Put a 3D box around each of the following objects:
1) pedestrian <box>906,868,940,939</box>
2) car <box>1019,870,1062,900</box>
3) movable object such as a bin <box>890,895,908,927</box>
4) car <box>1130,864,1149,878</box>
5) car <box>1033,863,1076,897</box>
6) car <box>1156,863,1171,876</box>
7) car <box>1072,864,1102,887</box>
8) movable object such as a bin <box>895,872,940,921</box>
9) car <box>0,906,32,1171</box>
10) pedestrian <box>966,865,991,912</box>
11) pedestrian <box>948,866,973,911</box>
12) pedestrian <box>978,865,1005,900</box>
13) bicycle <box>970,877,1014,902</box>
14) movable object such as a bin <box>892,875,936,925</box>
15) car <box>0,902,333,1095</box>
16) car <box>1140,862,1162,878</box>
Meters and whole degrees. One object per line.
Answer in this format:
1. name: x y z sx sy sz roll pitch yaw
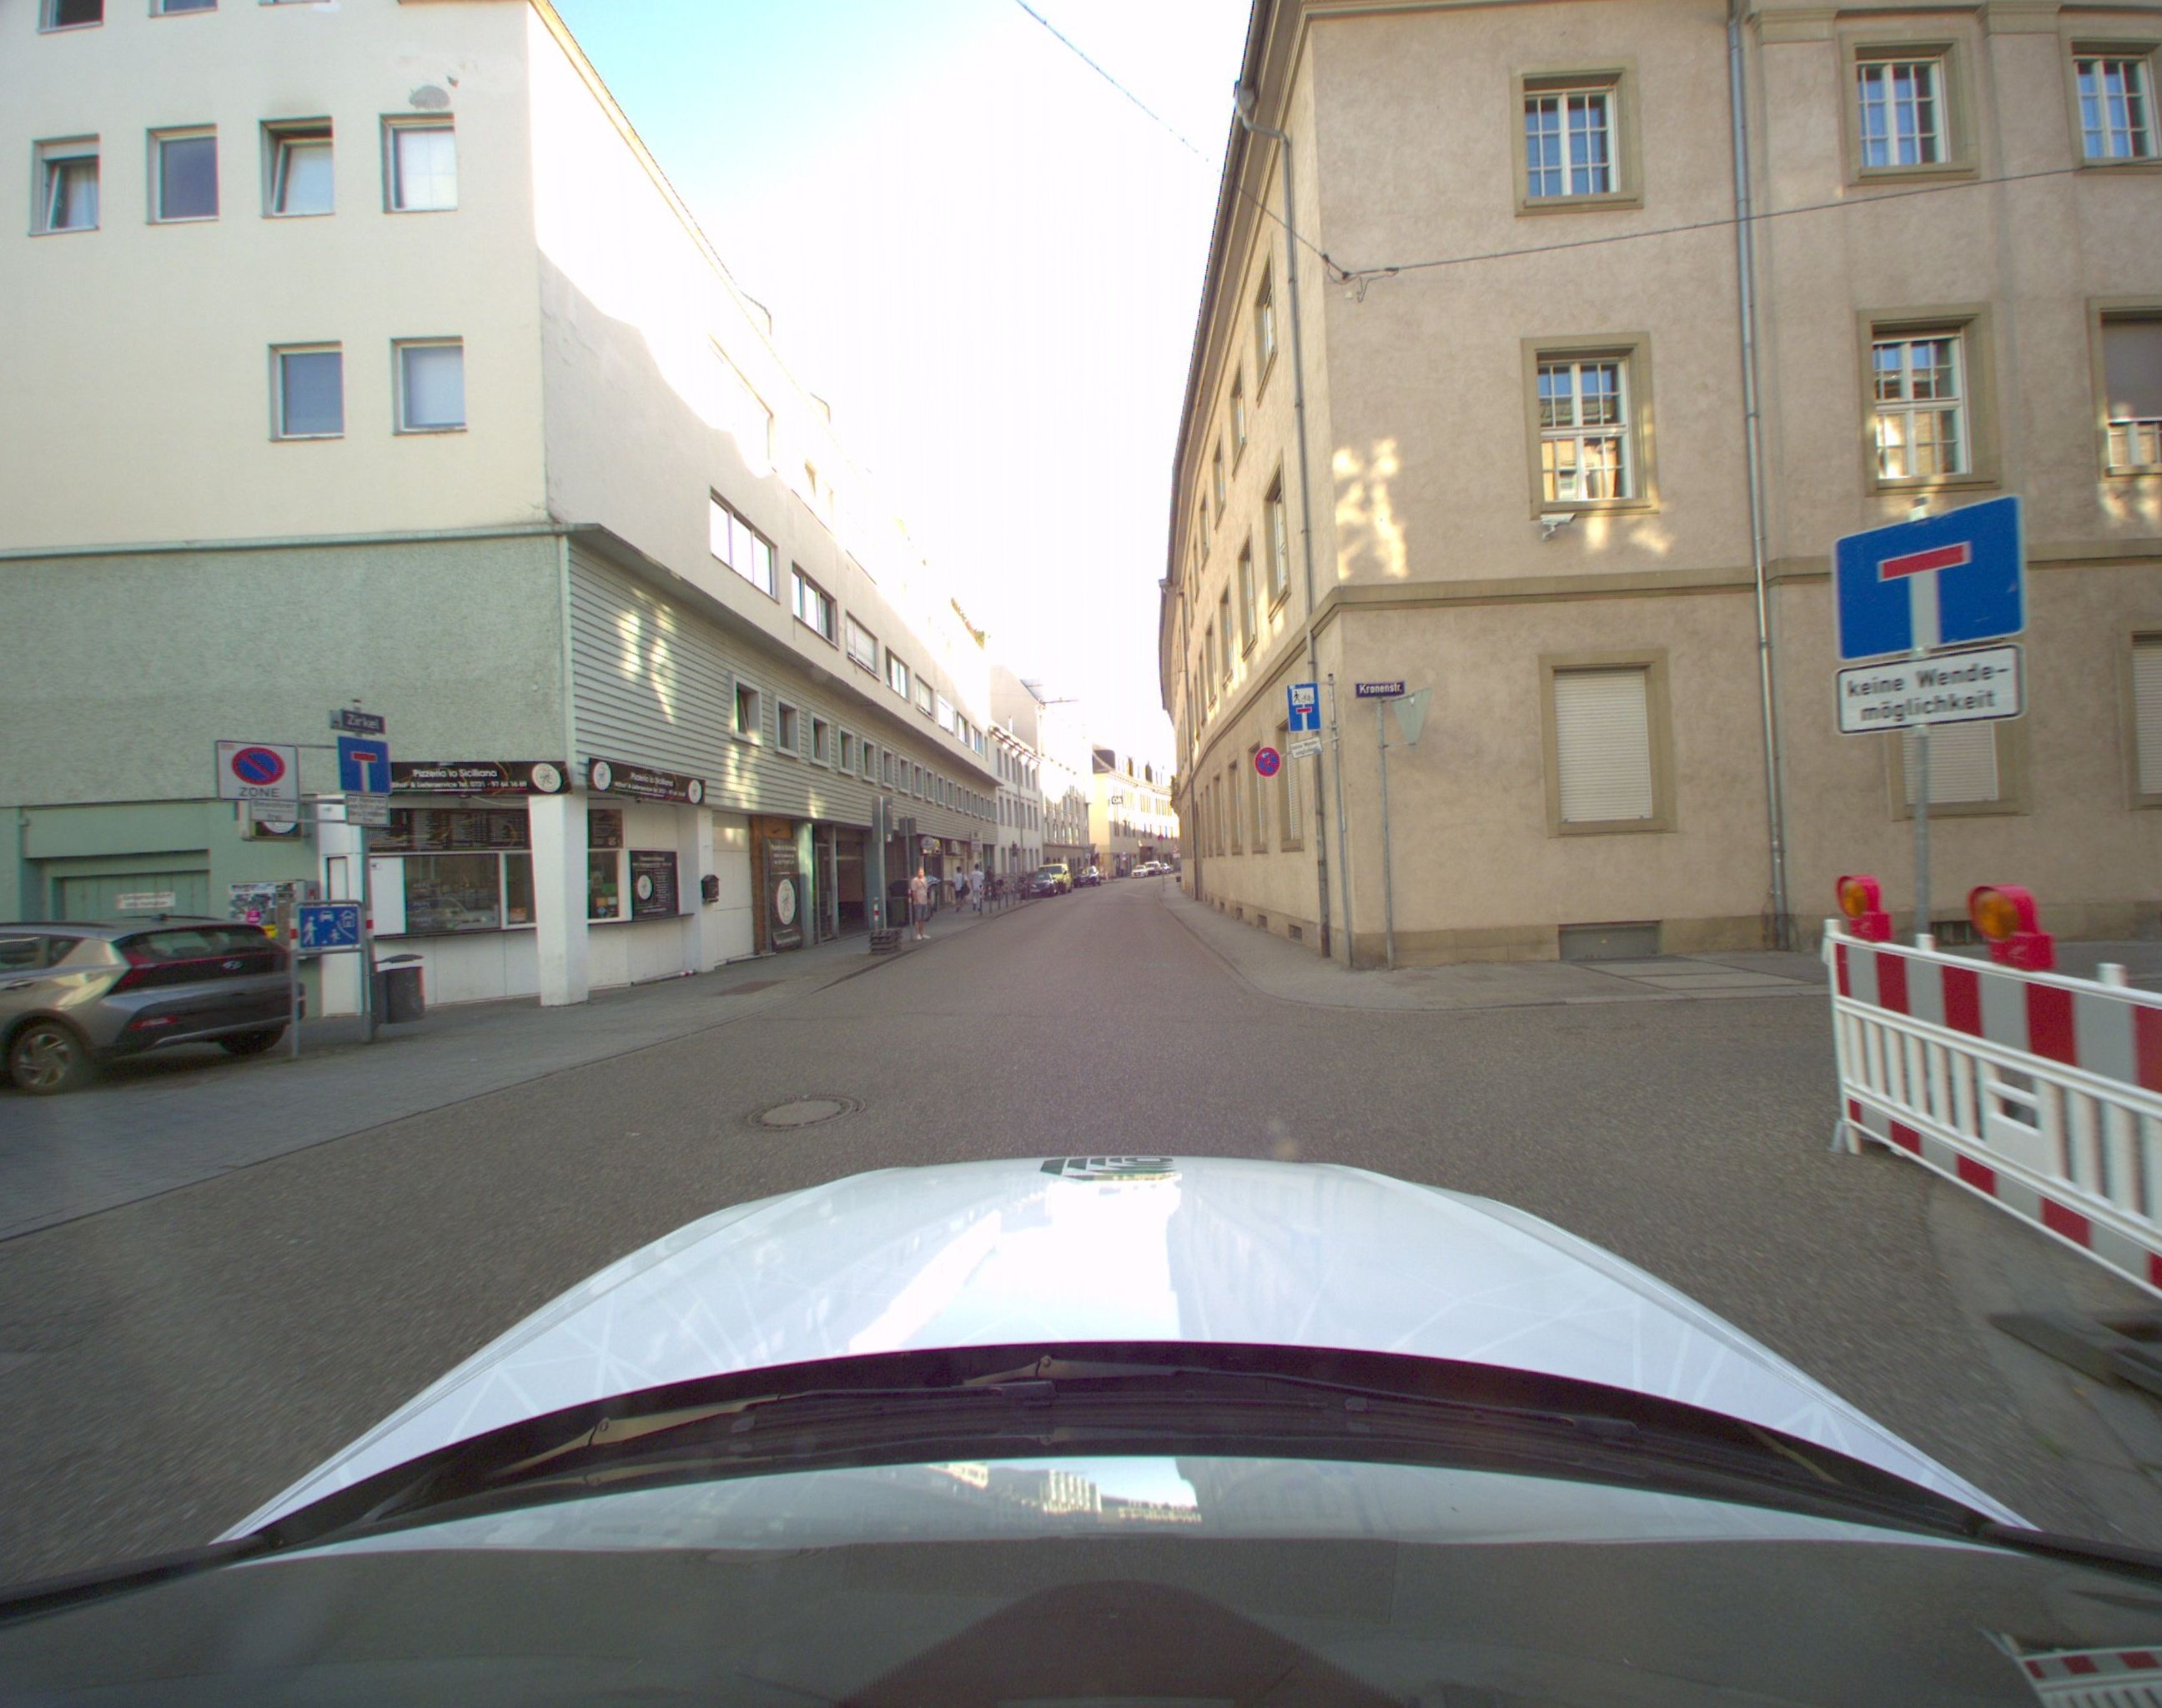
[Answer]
1. pedestrian: -3.775 1.166 19.435 0.631 1.670 0.487 1 -2 -45
2. car: -2.235 1.718 46.396 1.811 1.486 4.081 -5 -1 4
3. movable object such as a bin: -5.645 1.774 25.249 0.391 0.942 0.467 -3 -1 2
4. car: 7.082 1.996 98.120 1.659 1.507 3.806 -5 -1 12
5. car: -1.623 1.594 51.808 1.870 1.867 4.872 -5 -1 6
6. car: 11.115 2.087 109.648 1.261 1.507 3.417 -5 -1 18
7. car: 0.536 1.775 67.854 1.729 1.711 4.202 -6 -1 10
8. movable object such as a bin: -5.549 1.433 27.705 1.118 1.520 1.343 -3 0 2
9. car: -8.662 1.204 4.544 4.128 1.568 1.793 -3 -1 12
10. pedestrian: -3.928 1.303 31.345 0.695 1.734 0.830 -4 -1 4
11. pedestrian: -4.612 1.323 31.313 0.669 1.670 0.895 -4 -1 4
12. pedestrian: -4.693 1.494 42.643 1.067 1.728 0.807 -4 -1 27
13. bicycle: -4.648 1.852 42.618 2.108 1.163 0.828 -3 -1 27
14. movable object such as a bin: -5.368 1.450 26.256 0.964 1.471 1.475 -3 0 2
15. car: -9.970 1.354 7.842 3.918 1.520 1.693 -3 -1 0
16. car: 8.933 2.017 103.753 1.657 1.818 4.572 -5 -1 17
